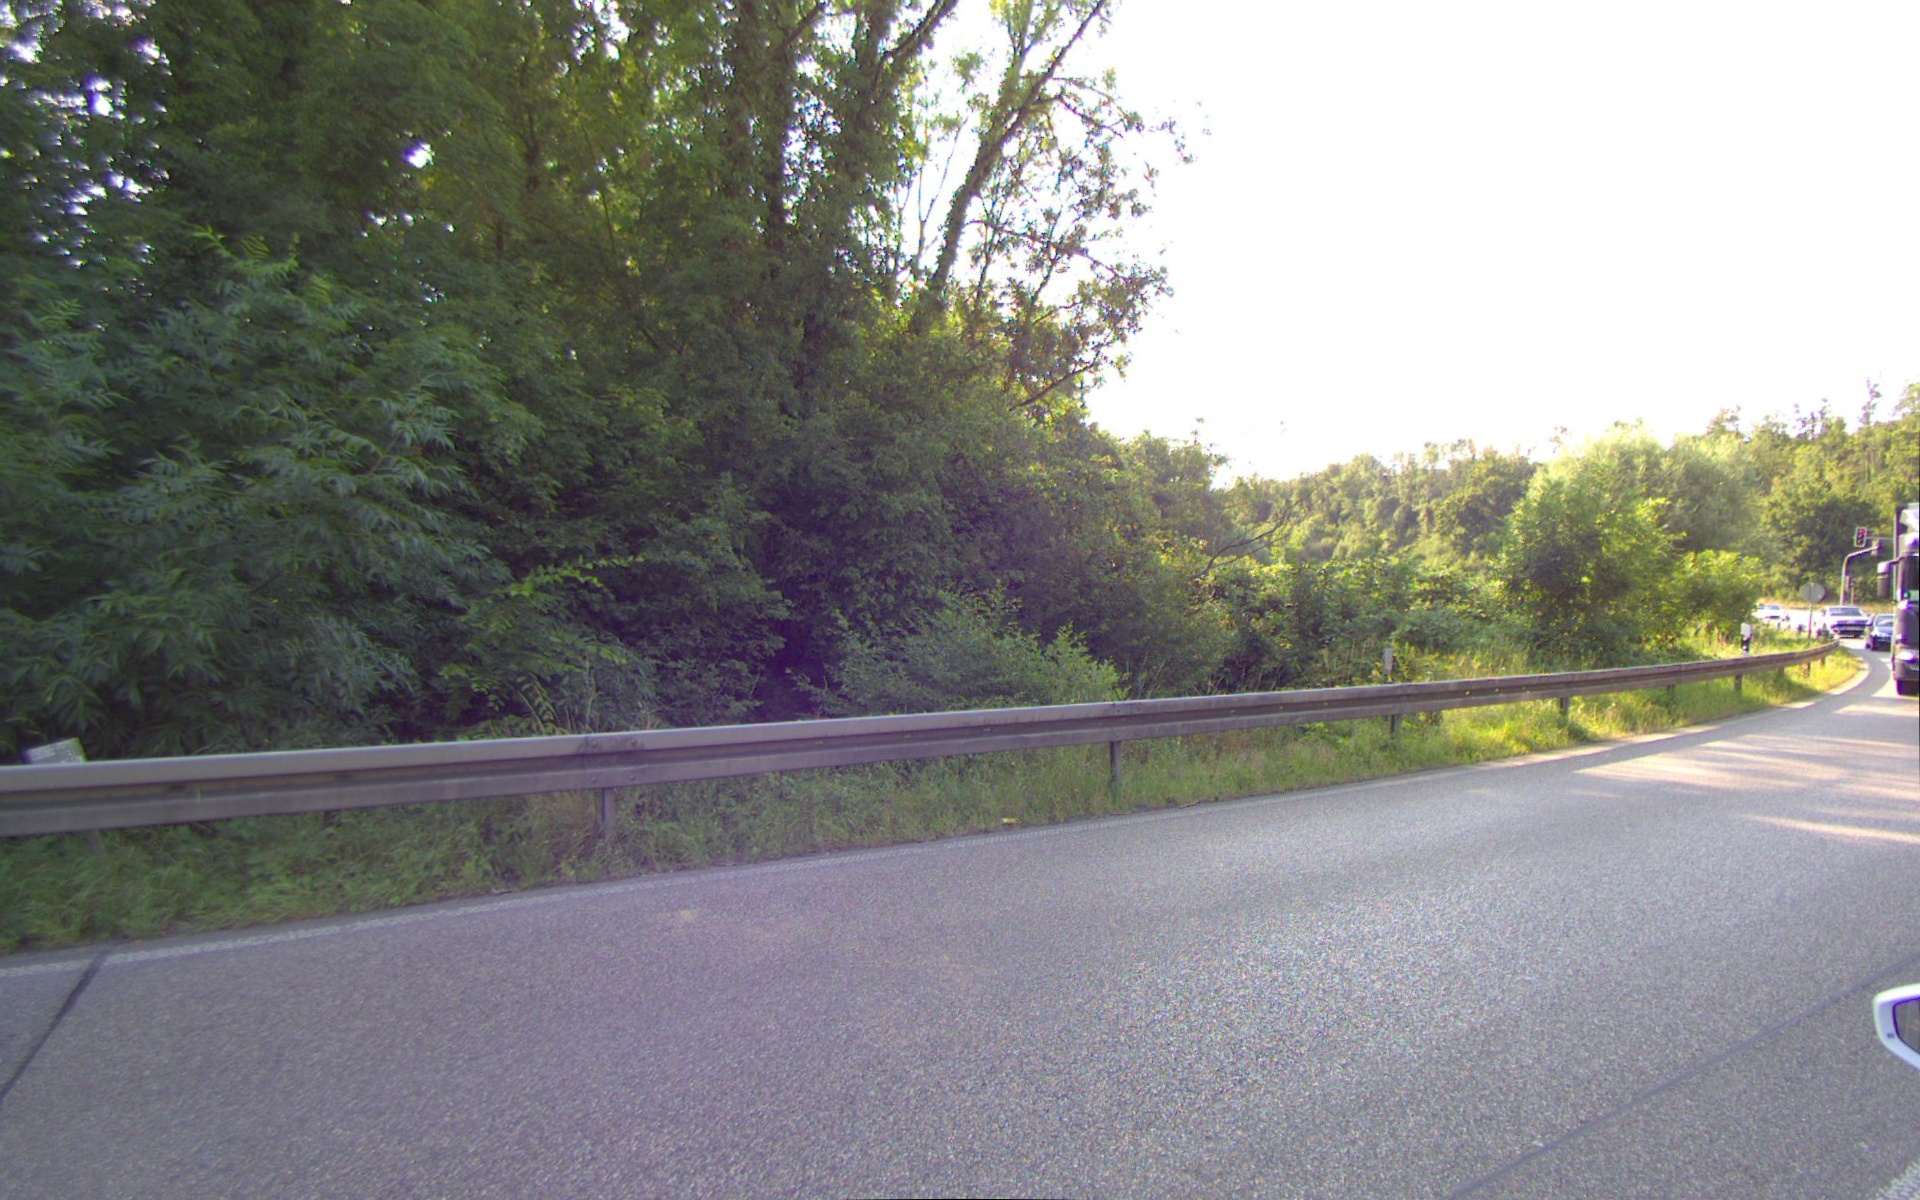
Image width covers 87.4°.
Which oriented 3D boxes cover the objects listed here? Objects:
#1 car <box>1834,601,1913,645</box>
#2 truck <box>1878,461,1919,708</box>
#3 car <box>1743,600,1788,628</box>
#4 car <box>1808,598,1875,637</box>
[{"bbox_3d":[37.175,0.897,40.968,1.843,1.577,3.986,4,2,36],"label":"car"},{"bbox_3d":[22.184,-0.178,21.954,2.979,4.646,10.184,2,0,42],"label":"truck"},{"bbox_3d":[56.685,0.958,70.711,1.841,1.876,3.991,3,2,31],"label":"car"},{"bbox_3d":[45.624,0.856,52.084,1.841,1.876,3.990,3,2,32],"label":"car"}]
